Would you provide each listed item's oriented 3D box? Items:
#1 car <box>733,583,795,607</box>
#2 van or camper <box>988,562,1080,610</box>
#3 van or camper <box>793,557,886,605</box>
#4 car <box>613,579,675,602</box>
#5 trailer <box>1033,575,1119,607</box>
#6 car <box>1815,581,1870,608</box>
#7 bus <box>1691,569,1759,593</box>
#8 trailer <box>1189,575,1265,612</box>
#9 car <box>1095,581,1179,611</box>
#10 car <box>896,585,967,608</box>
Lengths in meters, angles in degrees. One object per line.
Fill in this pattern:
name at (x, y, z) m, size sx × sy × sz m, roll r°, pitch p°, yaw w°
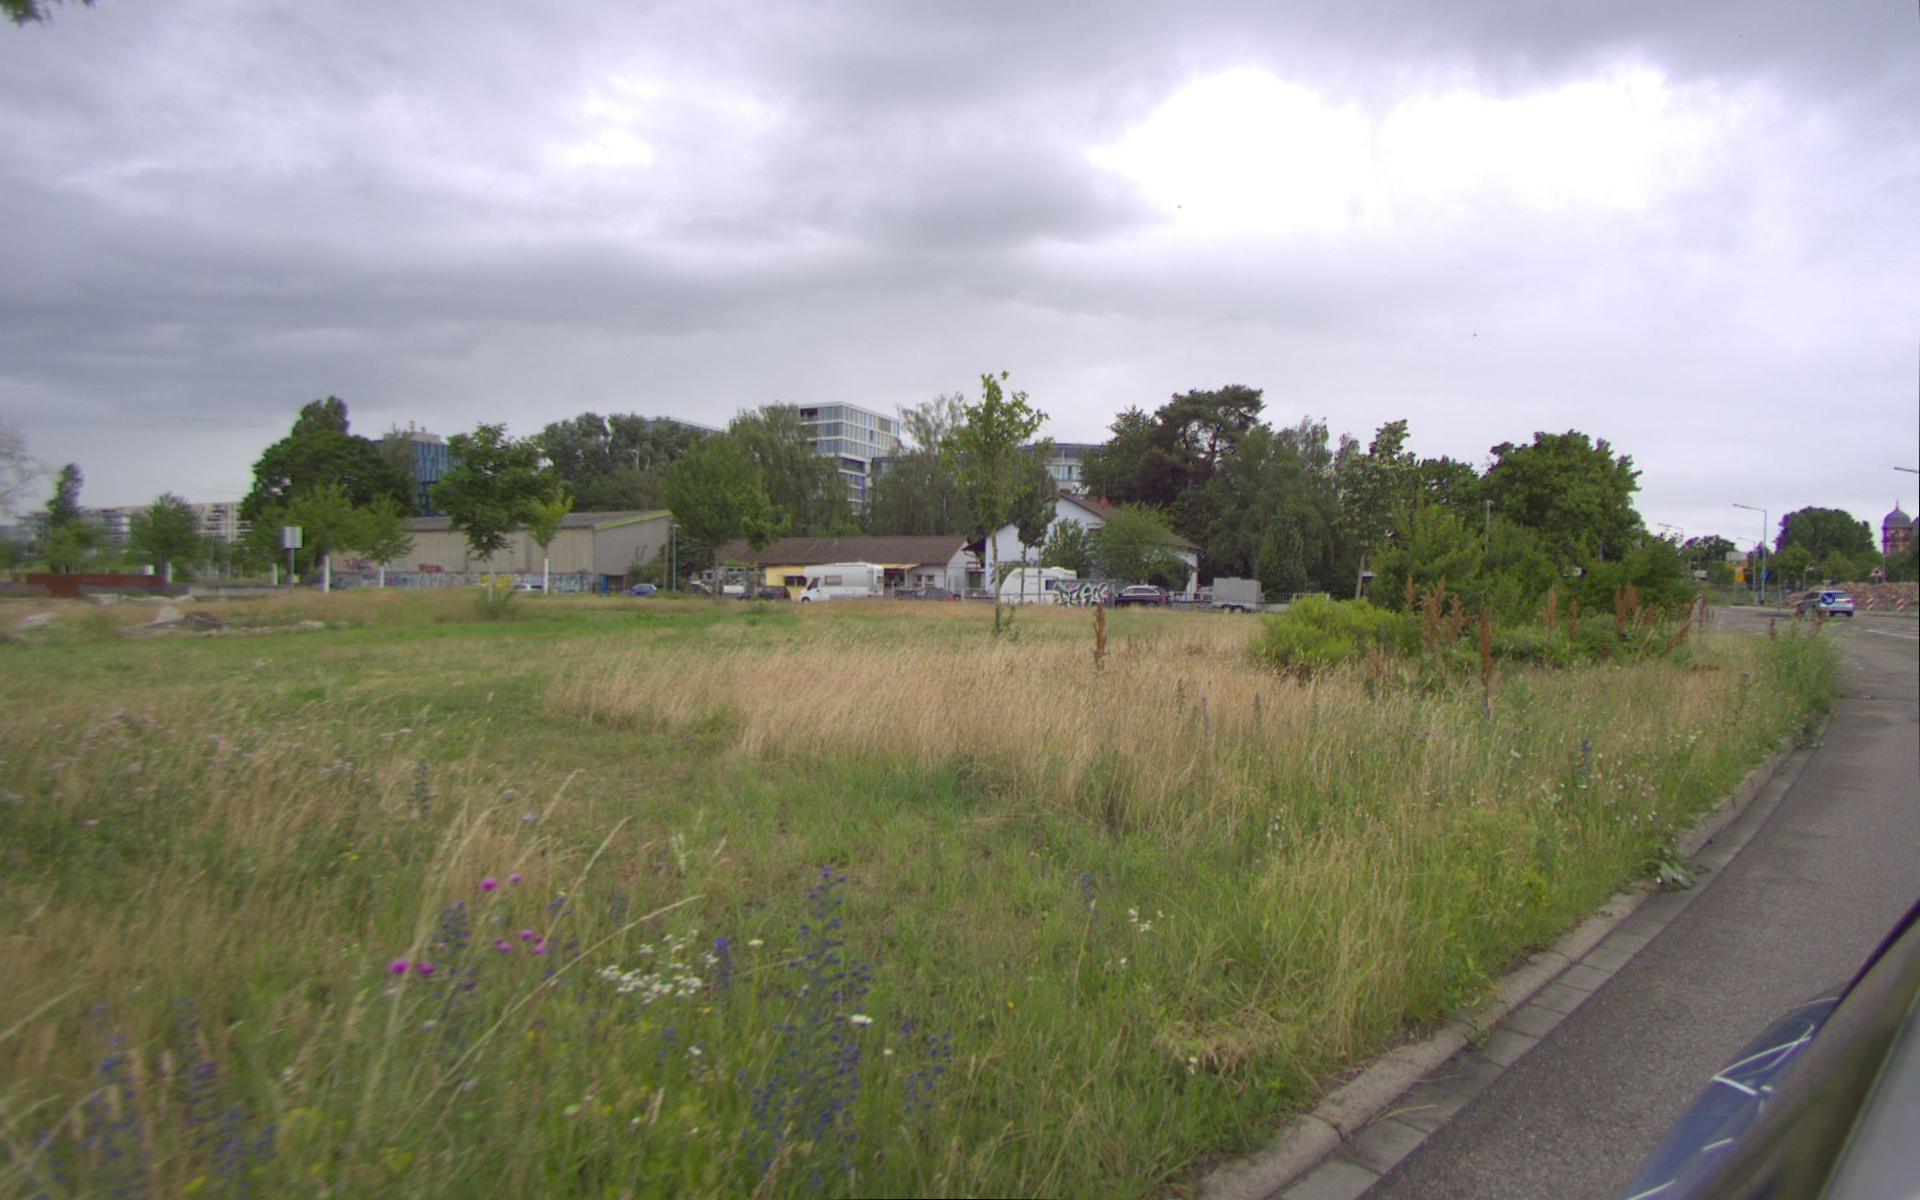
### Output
car at (-13.799, -0.344, 71.358) m, size 3.895 × 1.594 × 1.981 m, roll 1°, pitch -2°, yaw 26°
van or camper at (4.555, -0.847, 62.372) m, size 5.129 × 2.868 × 2.394 m, roll 1°, pitch 0°, yaw 27°
van or camper at (-8.164, -1.306, 68.460) m, size 6.008 × 3.151 × 2.252 m, roll 1°, pitch 0°, yaw 24°
car at (-23.799, -0.707, 76.262) m, size 4.241 × 1.594 × 1.981 m, roll 1°, pitch -2°, yaw 26°
trailer at (5.958, -0.480, 52.097) m, size 4.074 × 1.552 × 1.744 m, roll 1°, pitch 0°, yaw 24°
car at (50.120, -0.322, 57.525) m, size 1.664 × 1.480 × 4.011 m, roll -2°, pitch 0°, yaw 31°
bus at (134.916, -3.297, 178.614) m, size 2.676 × 4.032 × 9.911 m, roll 1°, pitch 0°, yaw -17°
trailer at (15.164, -0.384, 57.544) m, size 3.957 × 2.039 × 1.629 m, roll 1°, pitch 0°, yaw 25°
car at (10.386, -0.235, 59.337) m, size 4.545 × 1.660 × 1.983 m, roll 1°, pitch 0°, yaw 25°
car at (-1.839, -0.227, 65.245) m, size 4.245 × 1.402 × 1.897 m, roll 1°, pitch 1°, yaw 25°
